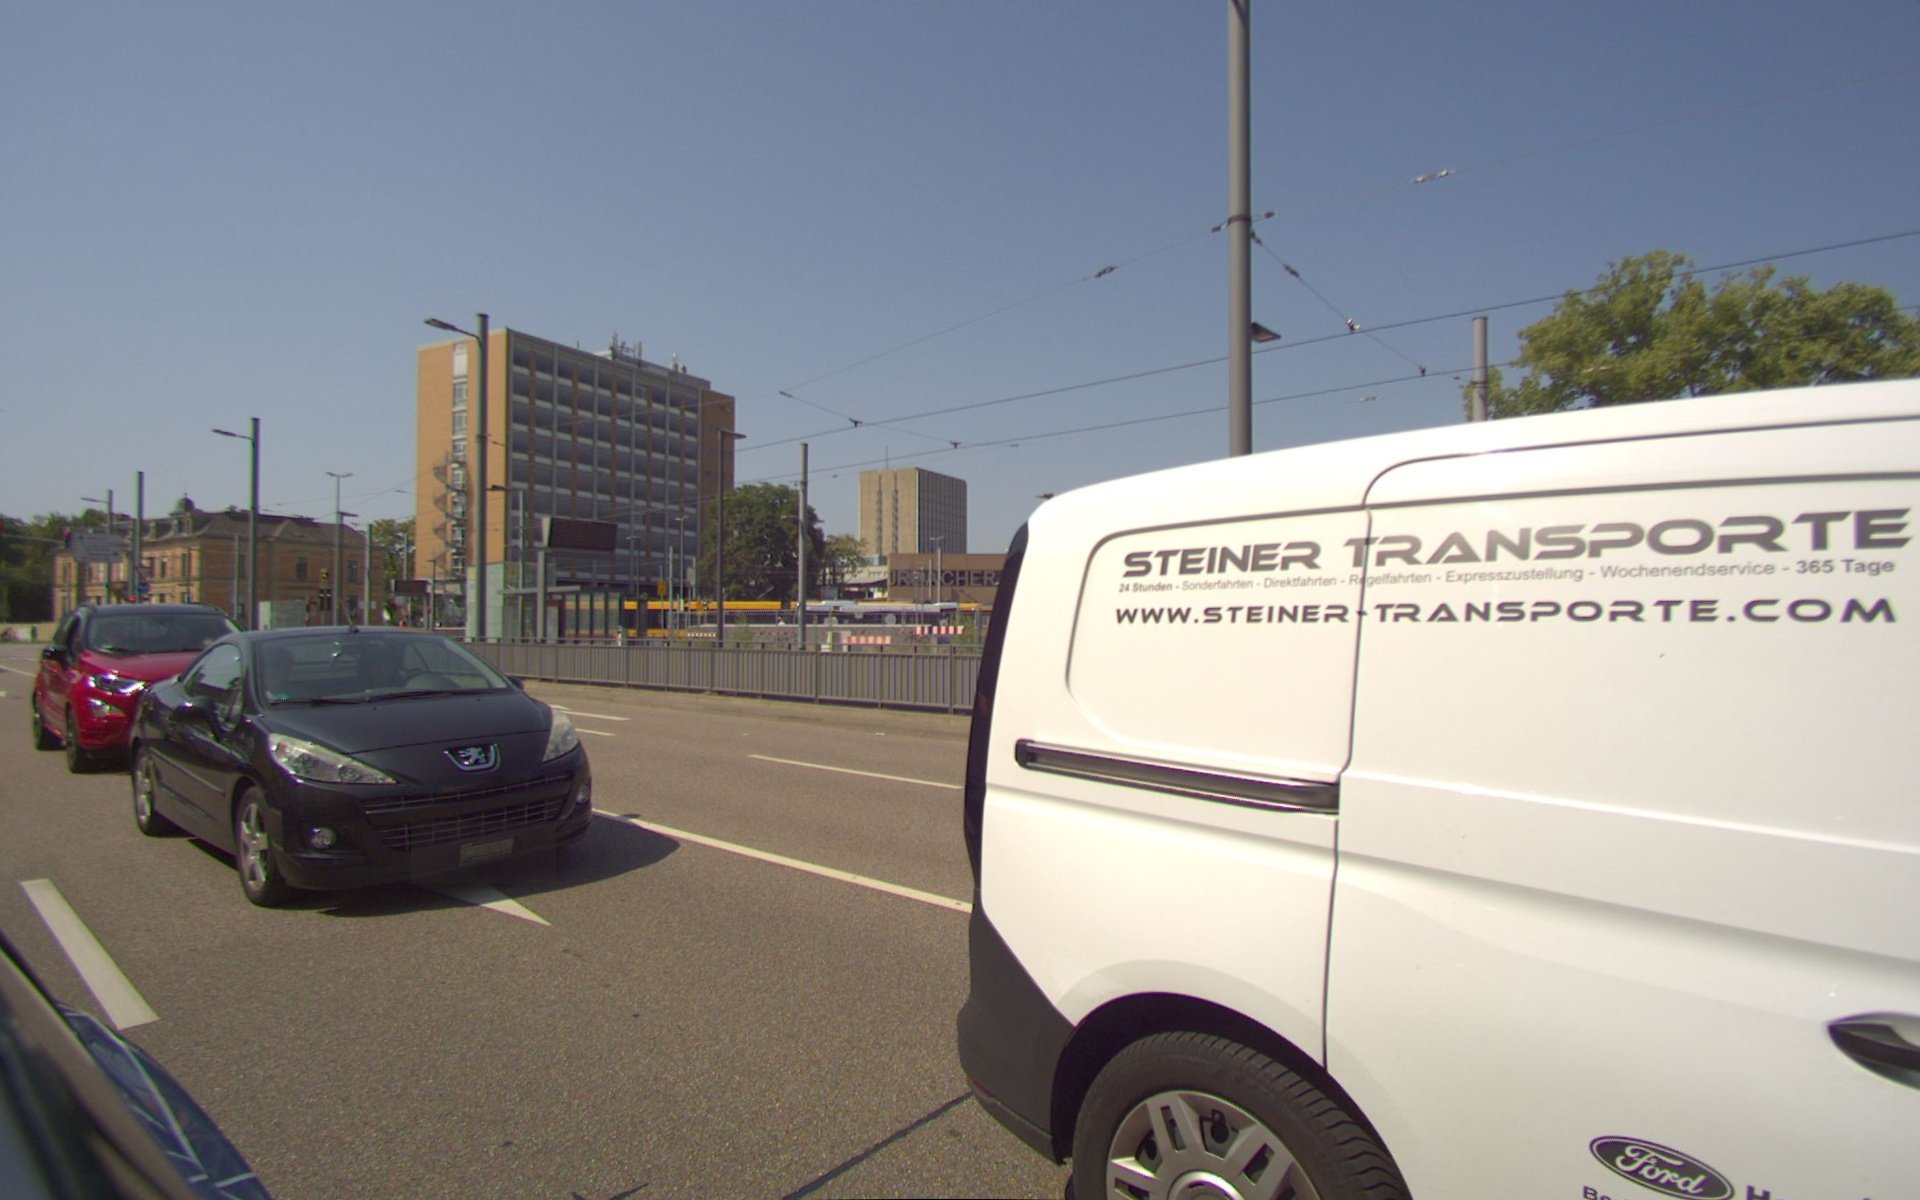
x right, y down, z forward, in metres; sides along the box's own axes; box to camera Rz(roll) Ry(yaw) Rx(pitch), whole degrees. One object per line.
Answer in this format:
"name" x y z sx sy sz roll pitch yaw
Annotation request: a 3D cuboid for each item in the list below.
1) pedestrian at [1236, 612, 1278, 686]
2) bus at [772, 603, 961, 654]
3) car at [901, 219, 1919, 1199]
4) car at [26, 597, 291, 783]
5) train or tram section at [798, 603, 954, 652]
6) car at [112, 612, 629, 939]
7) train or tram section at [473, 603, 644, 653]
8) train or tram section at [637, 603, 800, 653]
"pedestrian" 7.404 1.207 25.208 0.761 1.801 0.735 -2 -3 42
"bus" -6.664 2.005 72.894 13.205 3.319 3.354 -1 0 -4
"car" 2.026 0.471 1.503 4.237 1.834 1.729 -2 -1 41
"car" -8.650 0.821 10.796 3.967 1.633 1.612 -1 -1 42
"train or tram section" -6.608 2.159 79.974 12.180 3.794 2.002 0 -2 -4
"car" -3.857 0.814 6.349 3.799 1.424 1.671 -1 -1 41
"train or tram section" -30.843 2.173 78.091 12.180 3.794 2.002 0 -2 -4
"train or tram section" -18.731 2.212 79.031 12.180 3.794 2.002 0 -2 -4
